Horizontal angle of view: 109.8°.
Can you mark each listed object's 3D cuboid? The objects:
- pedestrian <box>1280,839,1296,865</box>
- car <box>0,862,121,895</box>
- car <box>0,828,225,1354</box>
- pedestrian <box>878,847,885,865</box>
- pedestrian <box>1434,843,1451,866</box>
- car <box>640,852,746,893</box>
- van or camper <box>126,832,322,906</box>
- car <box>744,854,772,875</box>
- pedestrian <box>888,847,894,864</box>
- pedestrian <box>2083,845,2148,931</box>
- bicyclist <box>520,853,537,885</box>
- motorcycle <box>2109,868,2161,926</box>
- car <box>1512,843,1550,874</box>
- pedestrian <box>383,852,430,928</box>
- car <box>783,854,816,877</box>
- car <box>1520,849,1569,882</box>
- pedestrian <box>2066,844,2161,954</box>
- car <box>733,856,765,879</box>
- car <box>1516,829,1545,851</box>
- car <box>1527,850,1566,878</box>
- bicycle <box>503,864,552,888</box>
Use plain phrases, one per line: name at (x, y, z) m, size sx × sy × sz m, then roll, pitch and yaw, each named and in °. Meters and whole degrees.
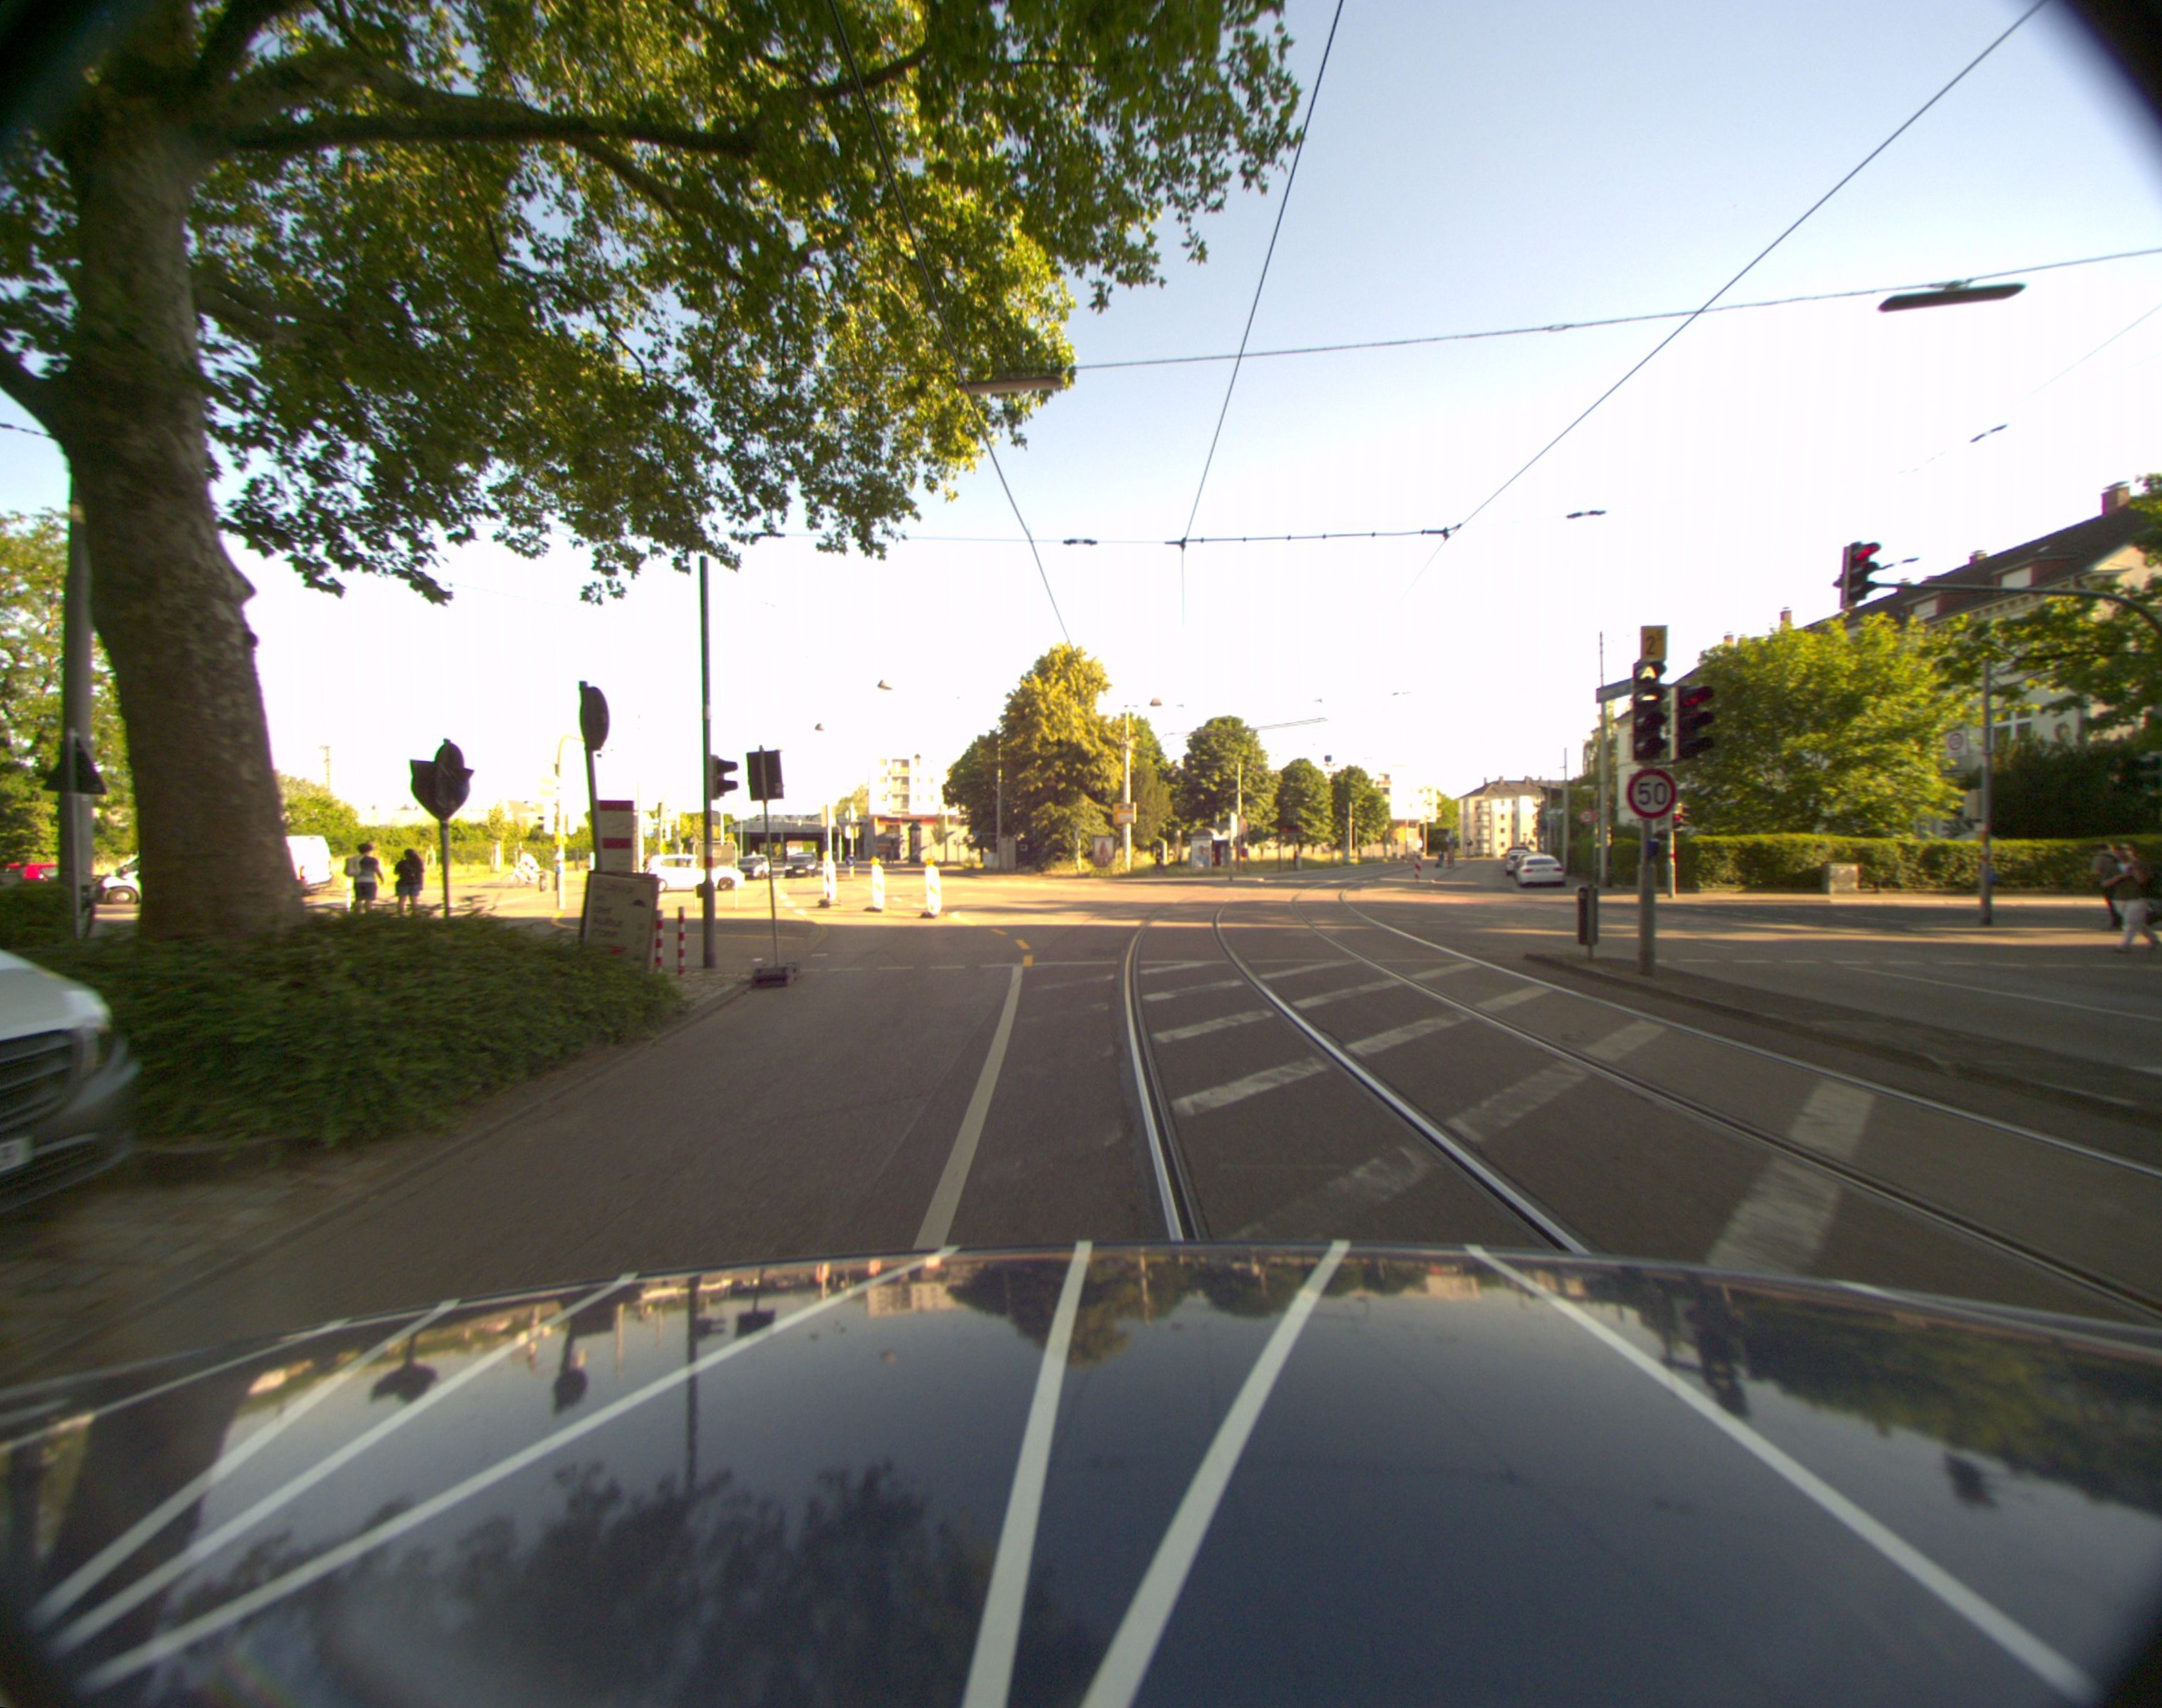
pedestrian at (16.052, -0.140, 58.884) m, size 0.913 × 2.002 × 0.860 m, roll -1°, pitch 1°, yaw -5°
car at (-41.231, 0.961, 30.508) m, size 2.983 × 1.227 × 1.494 m, roll -1°, pitch 1°, yaw -34°
car at (-6.360, 0.787, 2.387) m, size 5.126 × 1.845 × 1.914 m, roll 1°, pitch 1°, yaw 0°
pedestrian at (-22.804, 0.193, 86.939) m, size 0.729 × 2.002 × 0.984 m, roll -1°, pitch 1°, yaw -17°
pedestrian at (31.768, 0.017, 66.830) m, size 1.001 × 2.002 × 0.876 m, roll -1°, pitch 1°, yaw -21°
car at (-15.370, 0.733, 30.132) m, size 3.577 × 1.428 × 1.638 m, roll -3°, pitch -1°, yaw -30°
van or camper at (-33.037, 0.519, 29.498) m, size 4.521 × 2.559 × 1.996 m, roll -3°, pitch 1°, yaw -24°
car at (-22.477, 0.711, 52.819) m, size 1.644 × 1.414 × 3.331 m, roll -1°, pitch 1°, yaw -26°
pedestrian at (-21.874, 0.146, 87.380) m, size 0.639 × 2.002 × 0.984 m, roll -1°, pitch 1°, yaw -17°
pedestrian at (19.450, 0.629, 14.292) m, size 0.472 × 1.568 × 0.545 m, roll -2°, pitch 1°, yaw 0°
bicyclist at (-26.093, 0.703, 35.886) m, size 0.613 × 1.512 × 0.509 m, roll -1°, pitch 1°, yaw -38°
motorcycle at (21.626, 0.858, 14.650) m, size 0.758 × 1.125 × 2.092 m, roll 0°, pitch 1°, yaw 1°
car at (26.664, 0.268, 44.992) m, size 1.814 × 1.684 × 3.989 m, roll -2°, pitch -1°, yaw 31°
pedestrian at (-14.826, 0.765, 16.712) m, size 0.689 × 1.622 × 0.640 m, roll -1°, pitch 1°, yaw -37°
car at (-17.829, 0.701, 48.128) m, size 1.644 × 1.390 × 3.331 m, roll -1°, pitch 1°, yaw -26°
car at (21.325, 0.523, 35.010) m, size 1.814 × 1.419 × 3.748 m, roll -2°, pitch -1°, yaw 31°
pedestrian at (16.302, 0.676, 11.884) m, size 0.753 × 1.670 × 0.794 m, roll 0°, pitch 1°, yaw 15°
car at (-20.105, 0.774, 45.970) m, size 1.644 × 1.317 × 3.331 m, roll -1°, pitch 1°, yaw -26°
car at (34.551, -1.054, 58.371) m, size 1.814 × 1.570 × 3.748 m, roll -2°, pitch -1°, yaw 31°
car at (23.892, 0.489, 39.036) m, size 1.637 × 1.315 × 3.345 m, roll -2°, pitch -1°, yaw 31°
bicycle at (-26.118, 1.031, 35.876) m, size 1.858 × 1.086 × 0.523 m, roll -1°, pitch 1°, yaw -38°
